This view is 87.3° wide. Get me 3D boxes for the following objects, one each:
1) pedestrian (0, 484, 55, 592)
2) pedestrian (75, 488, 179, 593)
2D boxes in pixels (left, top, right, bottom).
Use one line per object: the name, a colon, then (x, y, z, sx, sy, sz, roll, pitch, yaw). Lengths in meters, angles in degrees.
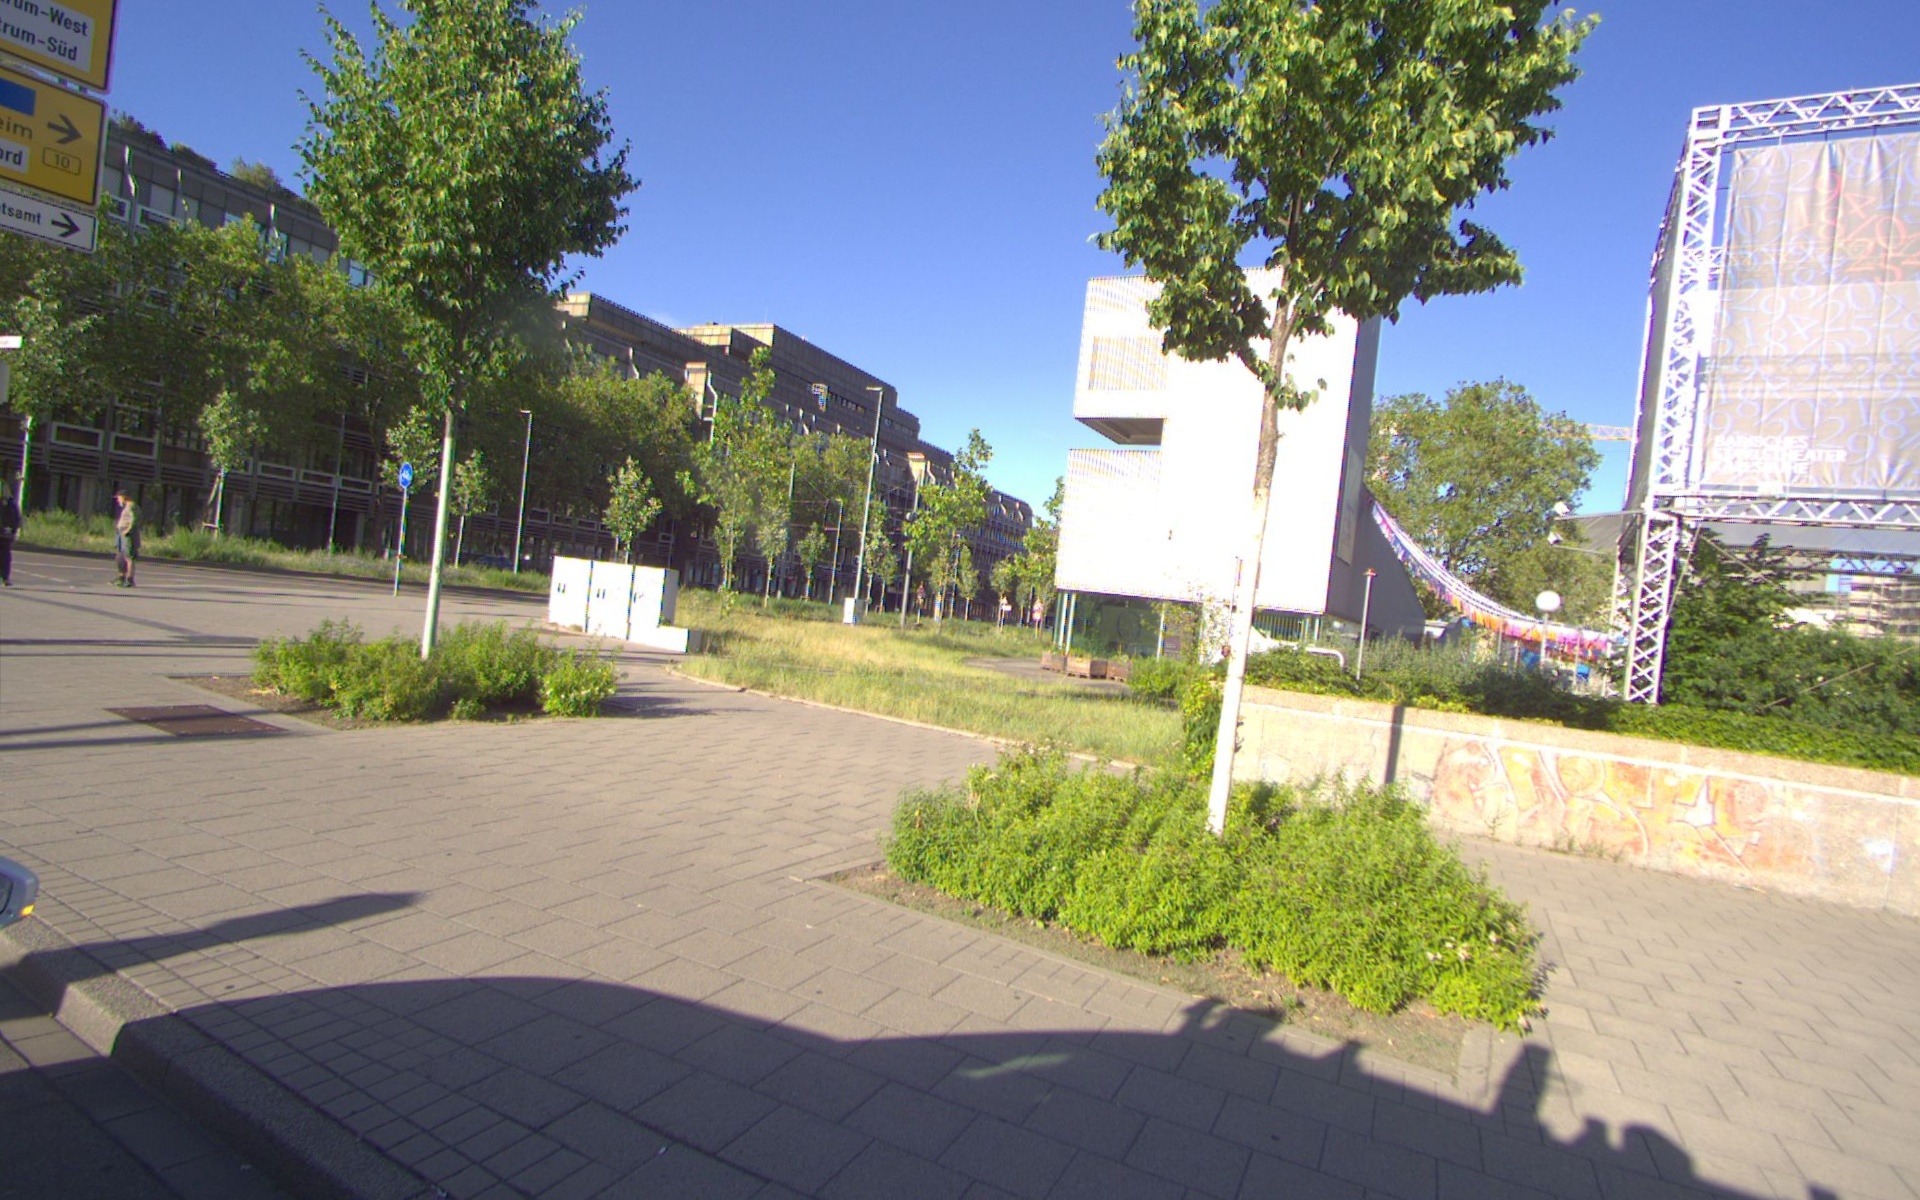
pedestrian: (-14.039, -0.931, 14.805, 0.633, 1.510, 0.789, 6, -1, 31)
pedestrian: (-14.875, -1.051, 17.981, 0.946, 1.684, 0.882, 7, -1, 14)
